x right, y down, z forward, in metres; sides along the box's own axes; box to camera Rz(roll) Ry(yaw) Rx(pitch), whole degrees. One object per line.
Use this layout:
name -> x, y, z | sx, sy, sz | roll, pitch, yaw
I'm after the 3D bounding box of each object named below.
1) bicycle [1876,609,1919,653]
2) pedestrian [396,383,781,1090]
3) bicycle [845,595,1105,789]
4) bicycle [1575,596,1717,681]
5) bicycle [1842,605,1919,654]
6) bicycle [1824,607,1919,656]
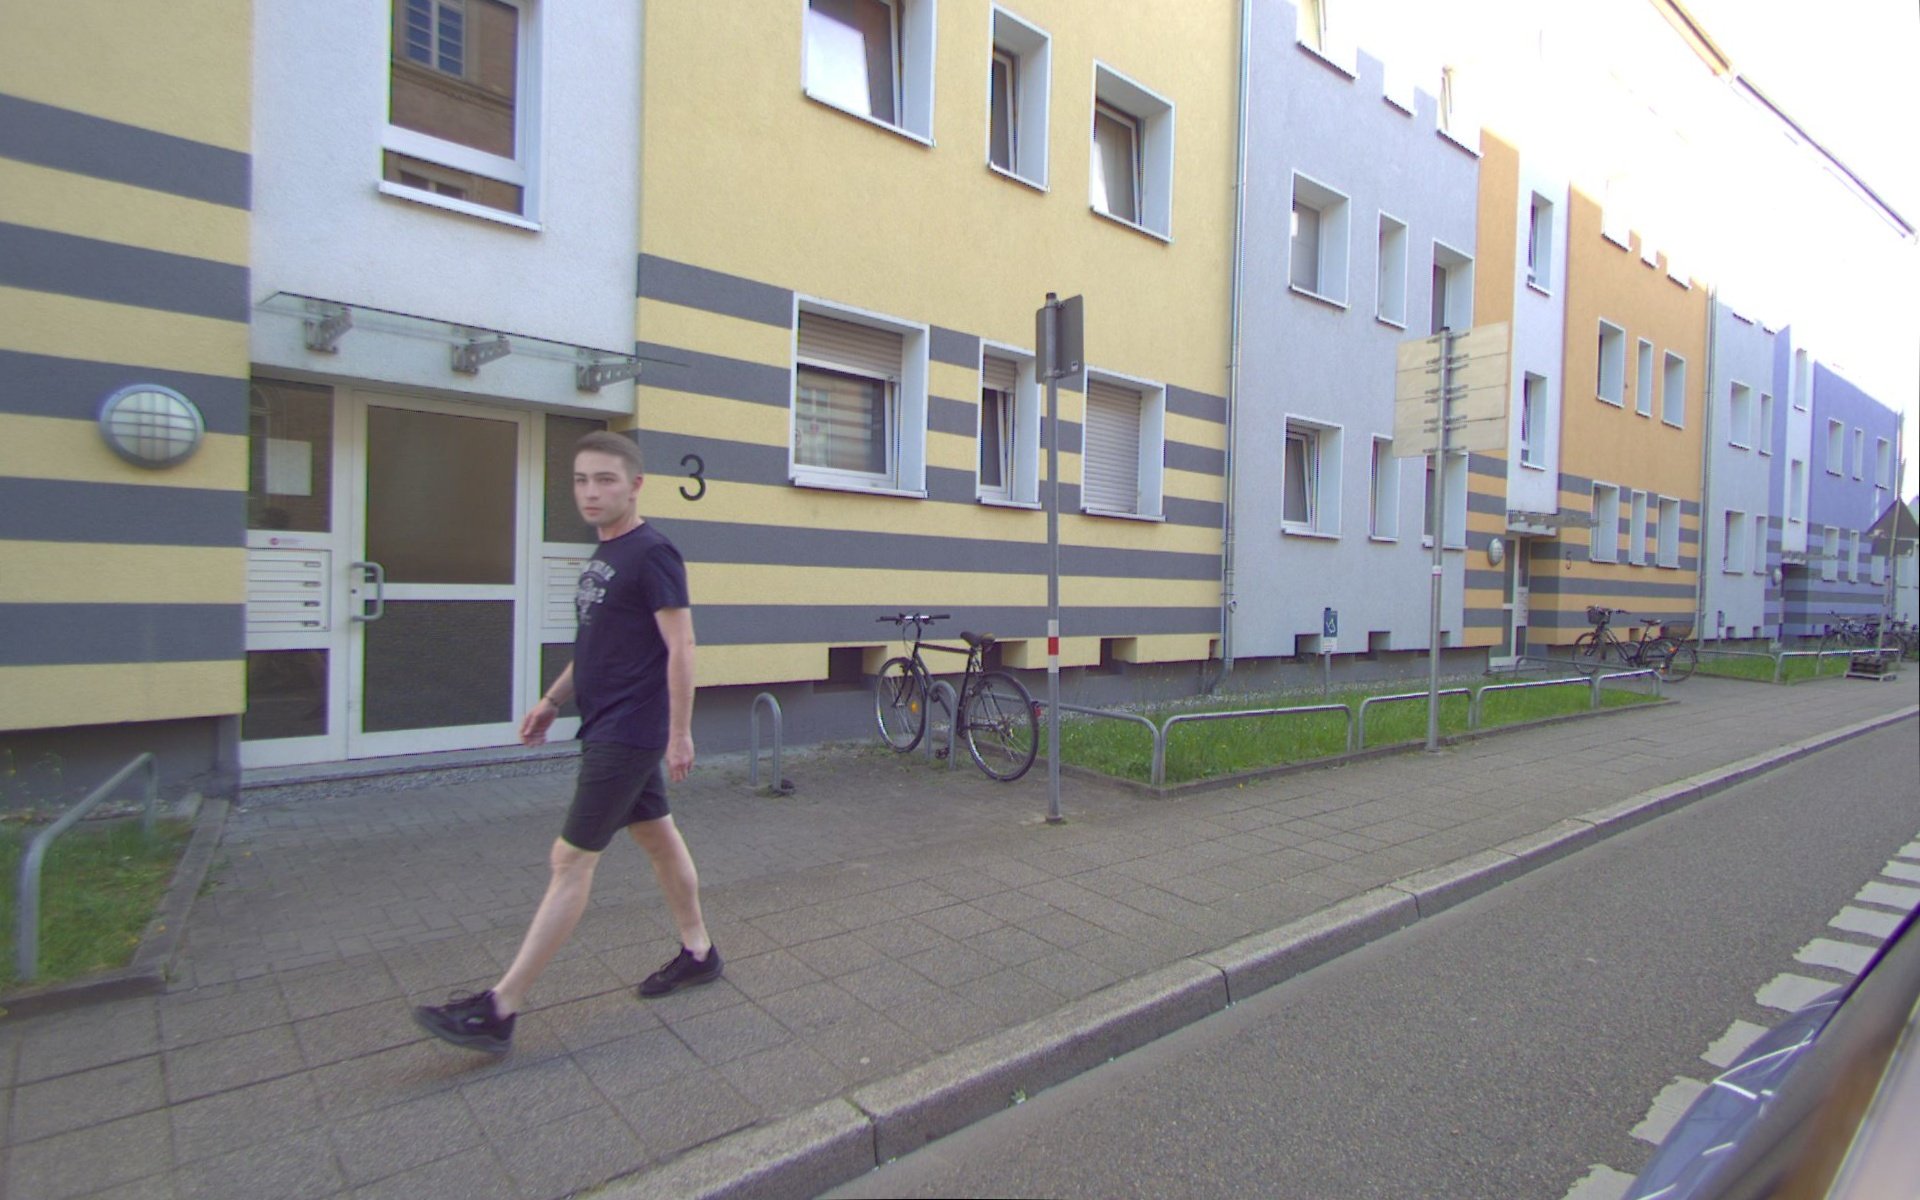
bicycle -> 24.162, 0.806, 25.351 | 0.625, 1.048, 1.709 | 1, 3, -42
pedestrian -> -1.141, 0.337, 3.096 | 0.898, 1.810, 0.646 | 1, 4, -38
bicycle -> 0.039, 0.558, 7.059 | 0.625, 1.074, 1.946 | 1, 3, -42
bicycle -> 10.734, 0.571, 15.878 | 0.625, 1.173, 1.709 | 1, 3, -42
bicycle -> 23.243, 0.730, 25.277 | 0.625, 1.095, 1.711 | 1, 3, -40
bicycle -> 22.274, 0.745, 24.682 | 0.624, 1.058, 1.711 | 1, 3, -39
